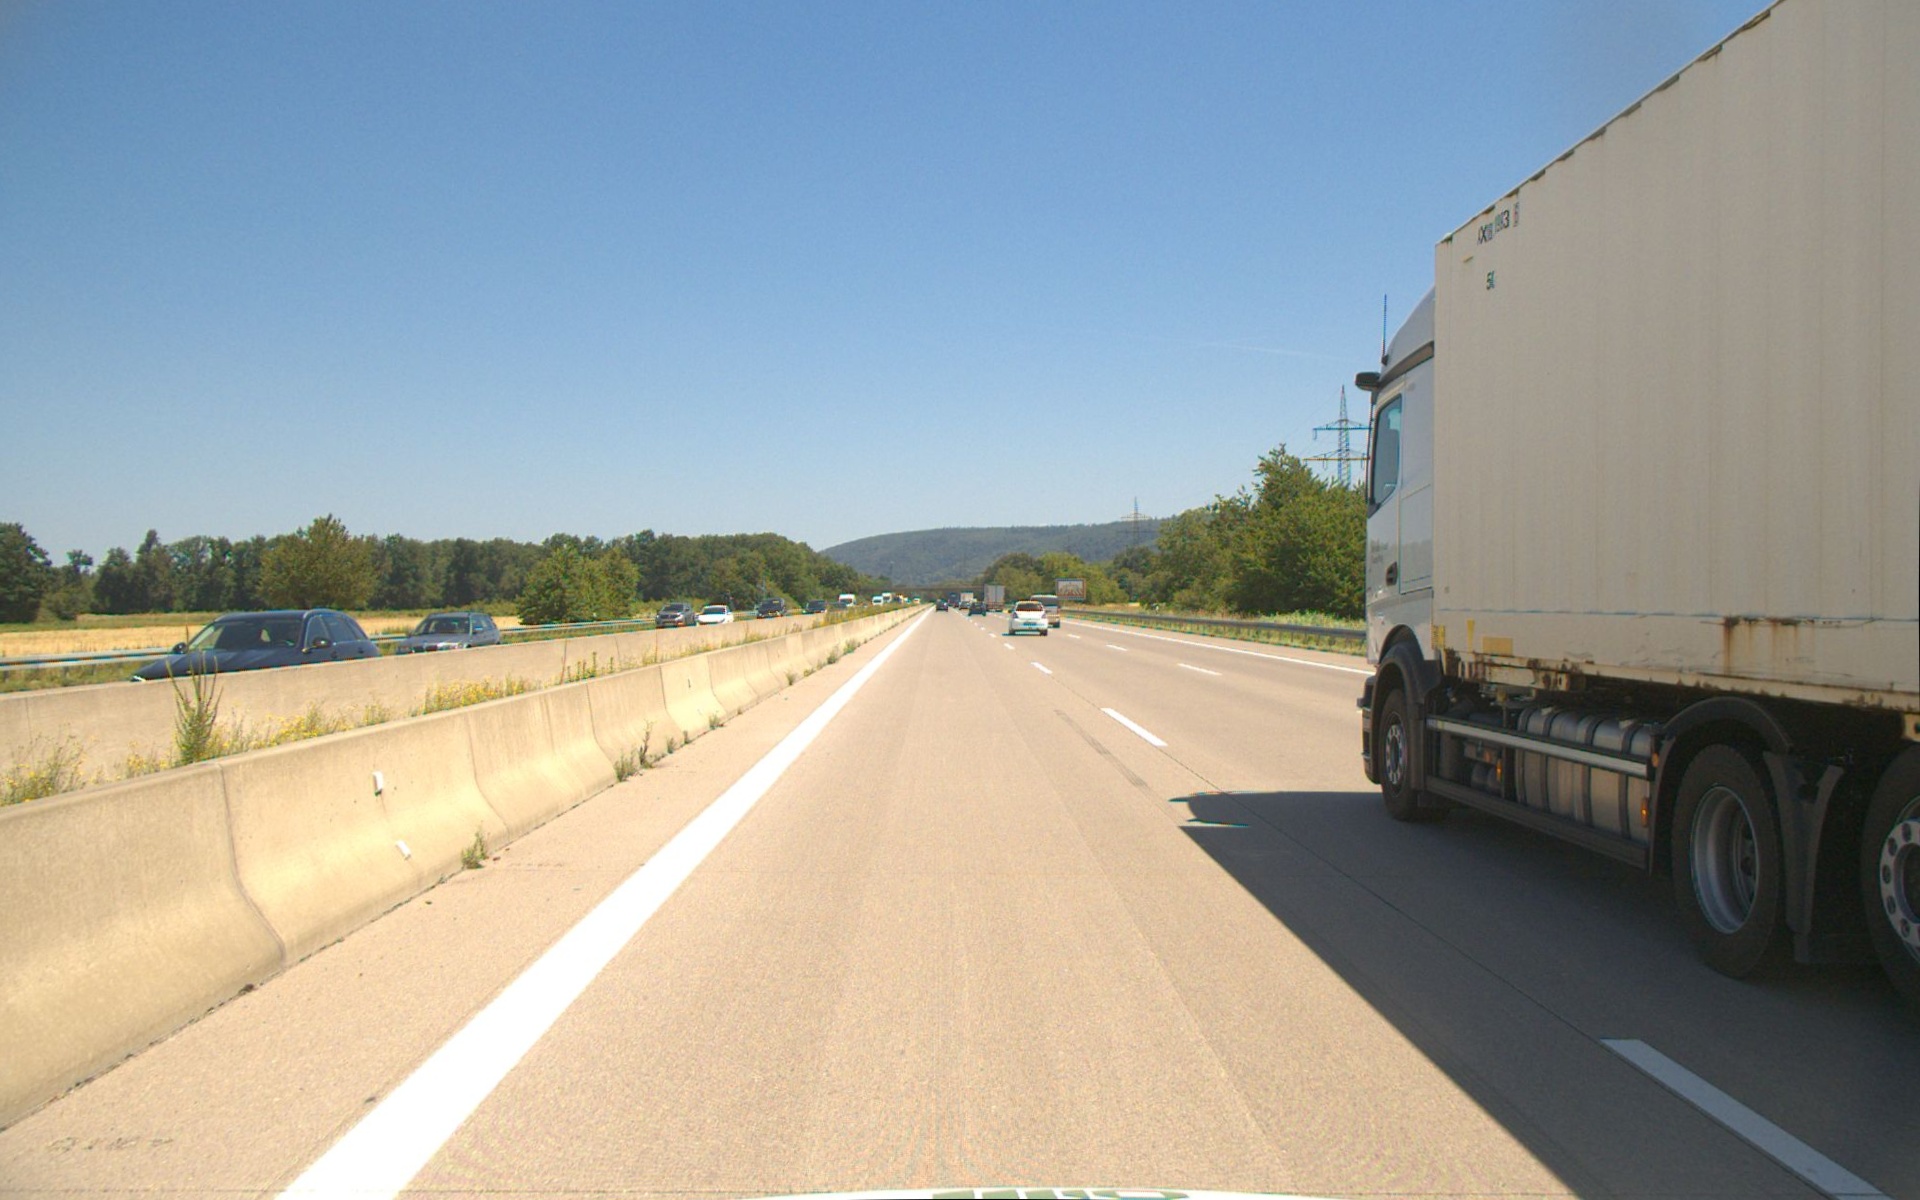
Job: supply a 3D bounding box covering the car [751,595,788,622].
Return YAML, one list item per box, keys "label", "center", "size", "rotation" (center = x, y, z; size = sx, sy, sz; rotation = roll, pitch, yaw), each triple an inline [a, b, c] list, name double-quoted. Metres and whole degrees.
- label: "car"
  center: [-13.841, 0.615, 120.387]
  size: [1.952, 1.911, 5.184]
  rotation: [1, 0, 0]

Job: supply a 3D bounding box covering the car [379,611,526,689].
- label: "car"
  center: [-12.483, 1.183, 41.055]
  size: [1.923, 1.747, 5.127]
  rotation: [1, 0, 2]

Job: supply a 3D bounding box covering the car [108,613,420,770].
- label: "car"
  center: [-8.886, 1.083, 21.684]
  size: [1.953, 1.747, 5.024]
  rotation: [1, 0, 0]

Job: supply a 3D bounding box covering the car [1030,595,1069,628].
- label: "car"
  center: [5.320, 0.666, 98.617]
  size: [1.953, 1.881, 3.999]
  rotation: [1, 0, -1]

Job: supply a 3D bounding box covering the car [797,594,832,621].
- label: "car"
  center: [-10.108, 0.513, 115.255]
  size: [1.952, 1.747, 5.030]
  rotation: [1, 0, 0]

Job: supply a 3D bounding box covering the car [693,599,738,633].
- label: "car"
  center: [-13.483, 0.913, 91.577]
  size: [1.953, 1.747, 4.610]
  rotation: [1, -2, -2]

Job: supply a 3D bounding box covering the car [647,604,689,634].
- label: "car"
  center: [-18.076, 1.163, 102.397]
  size: [1.953, 1.747, 4.299]
  rotation: [1, 0, -2]

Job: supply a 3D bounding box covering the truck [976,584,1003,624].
- label: "truck"
  center: [4.510, 0.597, 255.624]
  size: [3.646, 5.913, 7.050]
  rotation: [1, 0, -2]

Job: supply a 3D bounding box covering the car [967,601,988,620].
- label: "car"
  center: [1.767, 1.048, 170.744]
  size: [1.953, 1.881, 3.998]
  rotation: [3, 0, -2]

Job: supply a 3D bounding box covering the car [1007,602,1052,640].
- label: "car"
  center: [3.167, 0.931, 75.681]
  size: [1.782, 1.691, 3.999]
  rotation: [0, 0, -1]

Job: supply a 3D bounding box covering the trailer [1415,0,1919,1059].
- label: "trailer"
  center: [4.492, -0.417, 6.010]
  size: [2.528, 3.945, 10.370]
  rotation: [1, 0, -2]

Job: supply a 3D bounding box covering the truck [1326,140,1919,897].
- label: "truck"
  center: [4.373, -0.420, 11.200]
  size: [2.529, 3.945, 4.982]
  rotation: [1, 0, -2]

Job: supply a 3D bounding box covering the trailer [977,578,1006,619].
- label: "trailer"
  center: [4.729, -0.187, 248.997]
  size: [3.646, 5.913, 12.156]
  rotation: [1, 0, -2]

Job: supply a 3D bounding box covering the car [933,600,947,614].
- label: "car"
  center: [-2.768, 0.958, 232.196]
  size: [1.890, 1.825, 3.999]
  rotation: [1, 0, -1]
